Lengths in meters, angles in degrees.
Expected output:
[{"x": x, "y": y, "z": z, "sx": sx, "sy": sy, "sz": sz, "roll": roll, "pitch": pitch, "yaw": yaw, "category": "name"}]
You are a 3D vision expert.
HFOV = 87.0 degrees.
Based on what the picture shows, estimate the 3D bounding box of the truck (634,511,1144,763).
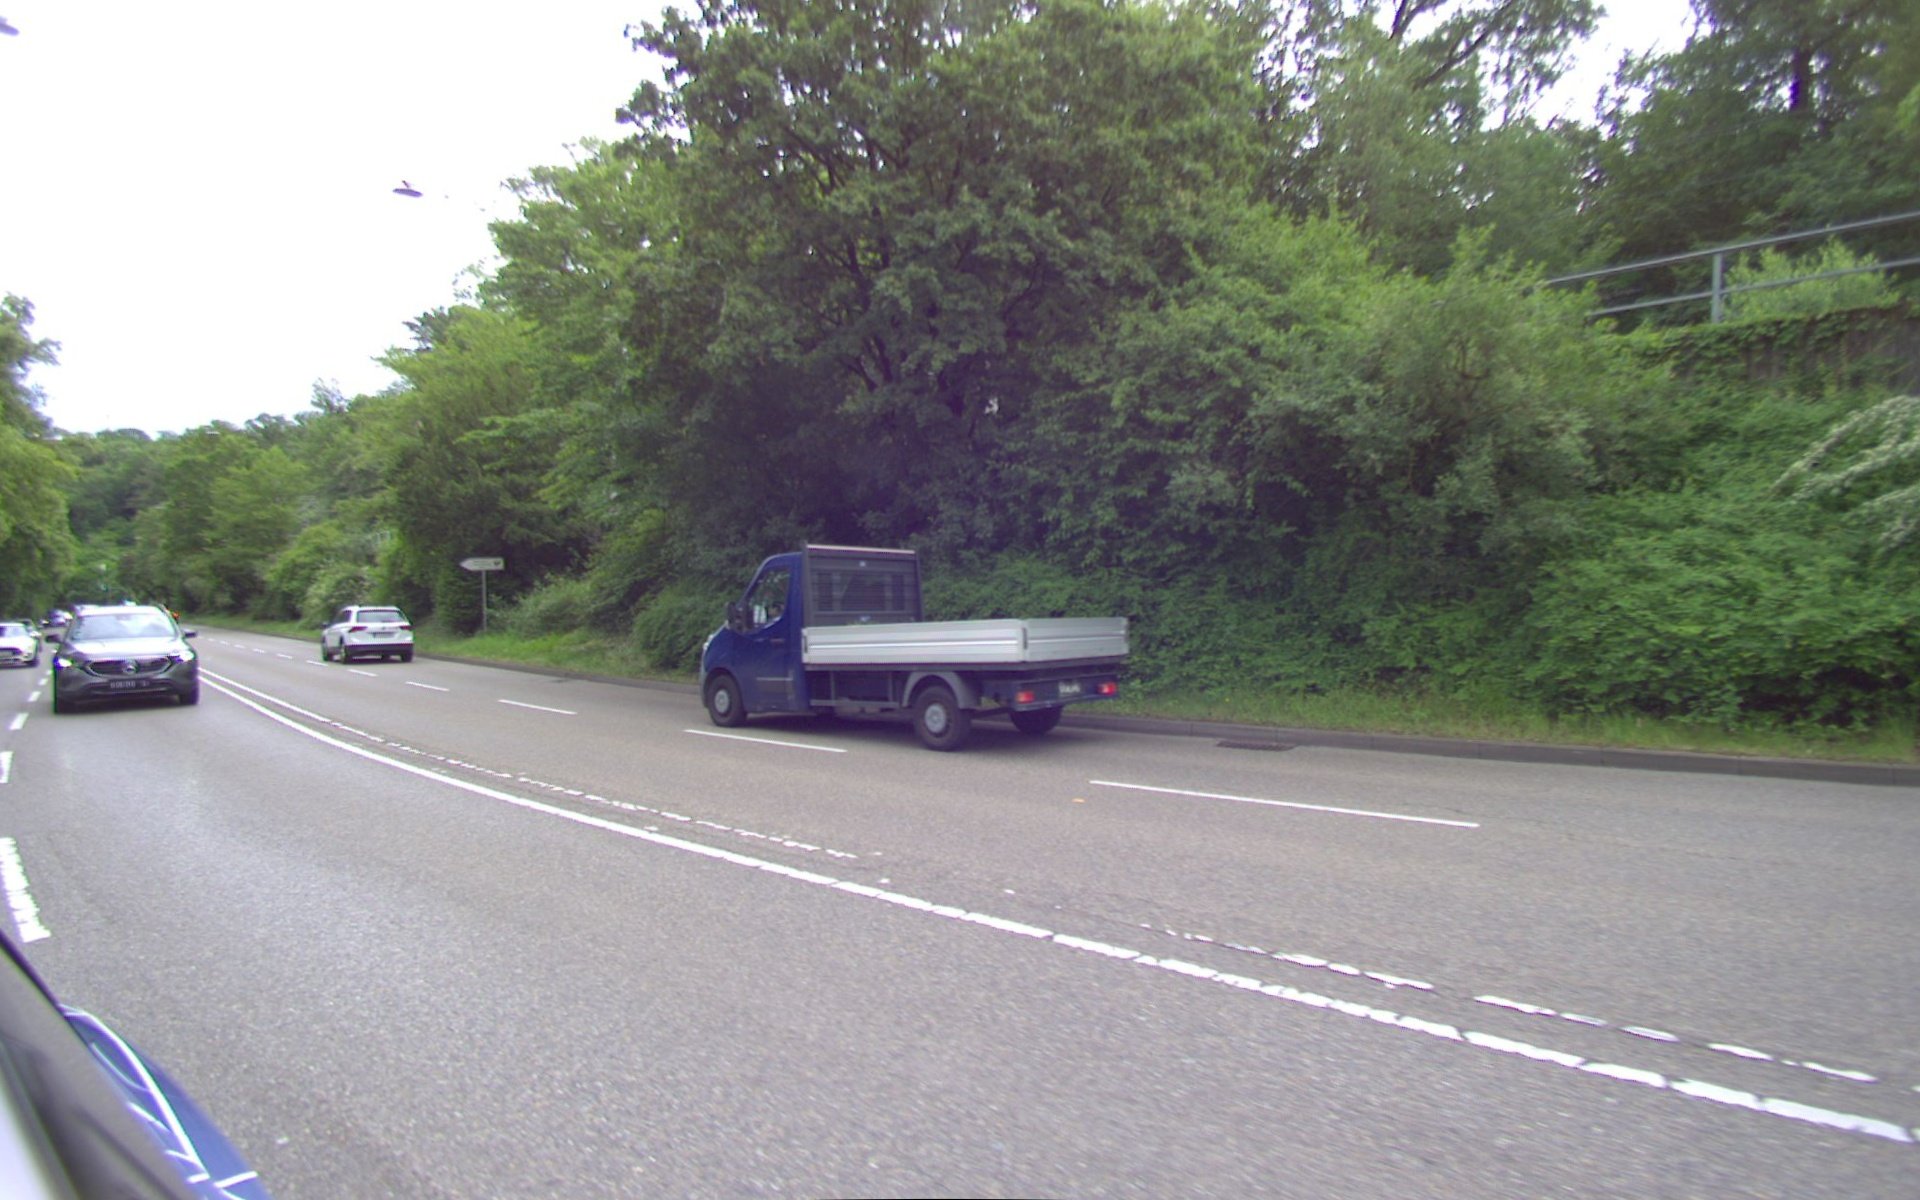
[{"x": -1.209, "y": 0.413, "z": 12.577, "sx": 6.672, "sy": 2.388, "sz": 2.139, "roll": -2, "pitch": 0, "yaw": 40, "category": "truck"}]

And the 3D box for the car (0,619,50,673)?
[{"x": -31.313, "y": 1.505, "z": 33.150, "sx": 3.998, "sy": 1.607, "sz": 1.704, "roll": -1, "pitch": 3, "yaw": 41, "category": "car"}]

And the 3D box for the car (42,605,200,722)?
[{"x": -14.100, "y": 0.949, "z": 16.993, "sx": 1.844, "sy": 1.675, "sz": 4.198, "roll": -1, "pitch": 0, "yaw": -41, "category": "car"}]

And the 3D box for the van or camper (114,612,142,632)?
[{"x": -88.146, "y": 2.295, "z": 107.159, "sx": 1.970, "sy": 2.029, "sz": 5.374, "roll": -3, "pitch": 1, "yaw": -42, "category": "van or camper"}]

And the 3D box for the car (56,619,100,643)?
[{"x": -65.902, "y": 2.310, "z": 75.599, "sx": 3.994, "sy": 1.594, "sz": 1.678, "roll": -2, "pitch": 3, "yaw": 37, "category": "car"}]

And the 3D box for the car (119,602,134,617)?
[{"x": -143.410, "y": 1.612, "z": 174.034, "sx": 1.864, "sy": 2.575, "sz": 4.922, "roll": -1, "pitch": 0, "yaw": -41, "category": "car"}]

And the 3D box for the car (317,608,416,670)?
[{"x": -17.853, "y": 1.143, "z": 30.343, "sx": 1.832, "sy": 1.707, "sz": 4.443, "roll": 2, "pitch": -3, "yaw": -40, "category": "car"}]
